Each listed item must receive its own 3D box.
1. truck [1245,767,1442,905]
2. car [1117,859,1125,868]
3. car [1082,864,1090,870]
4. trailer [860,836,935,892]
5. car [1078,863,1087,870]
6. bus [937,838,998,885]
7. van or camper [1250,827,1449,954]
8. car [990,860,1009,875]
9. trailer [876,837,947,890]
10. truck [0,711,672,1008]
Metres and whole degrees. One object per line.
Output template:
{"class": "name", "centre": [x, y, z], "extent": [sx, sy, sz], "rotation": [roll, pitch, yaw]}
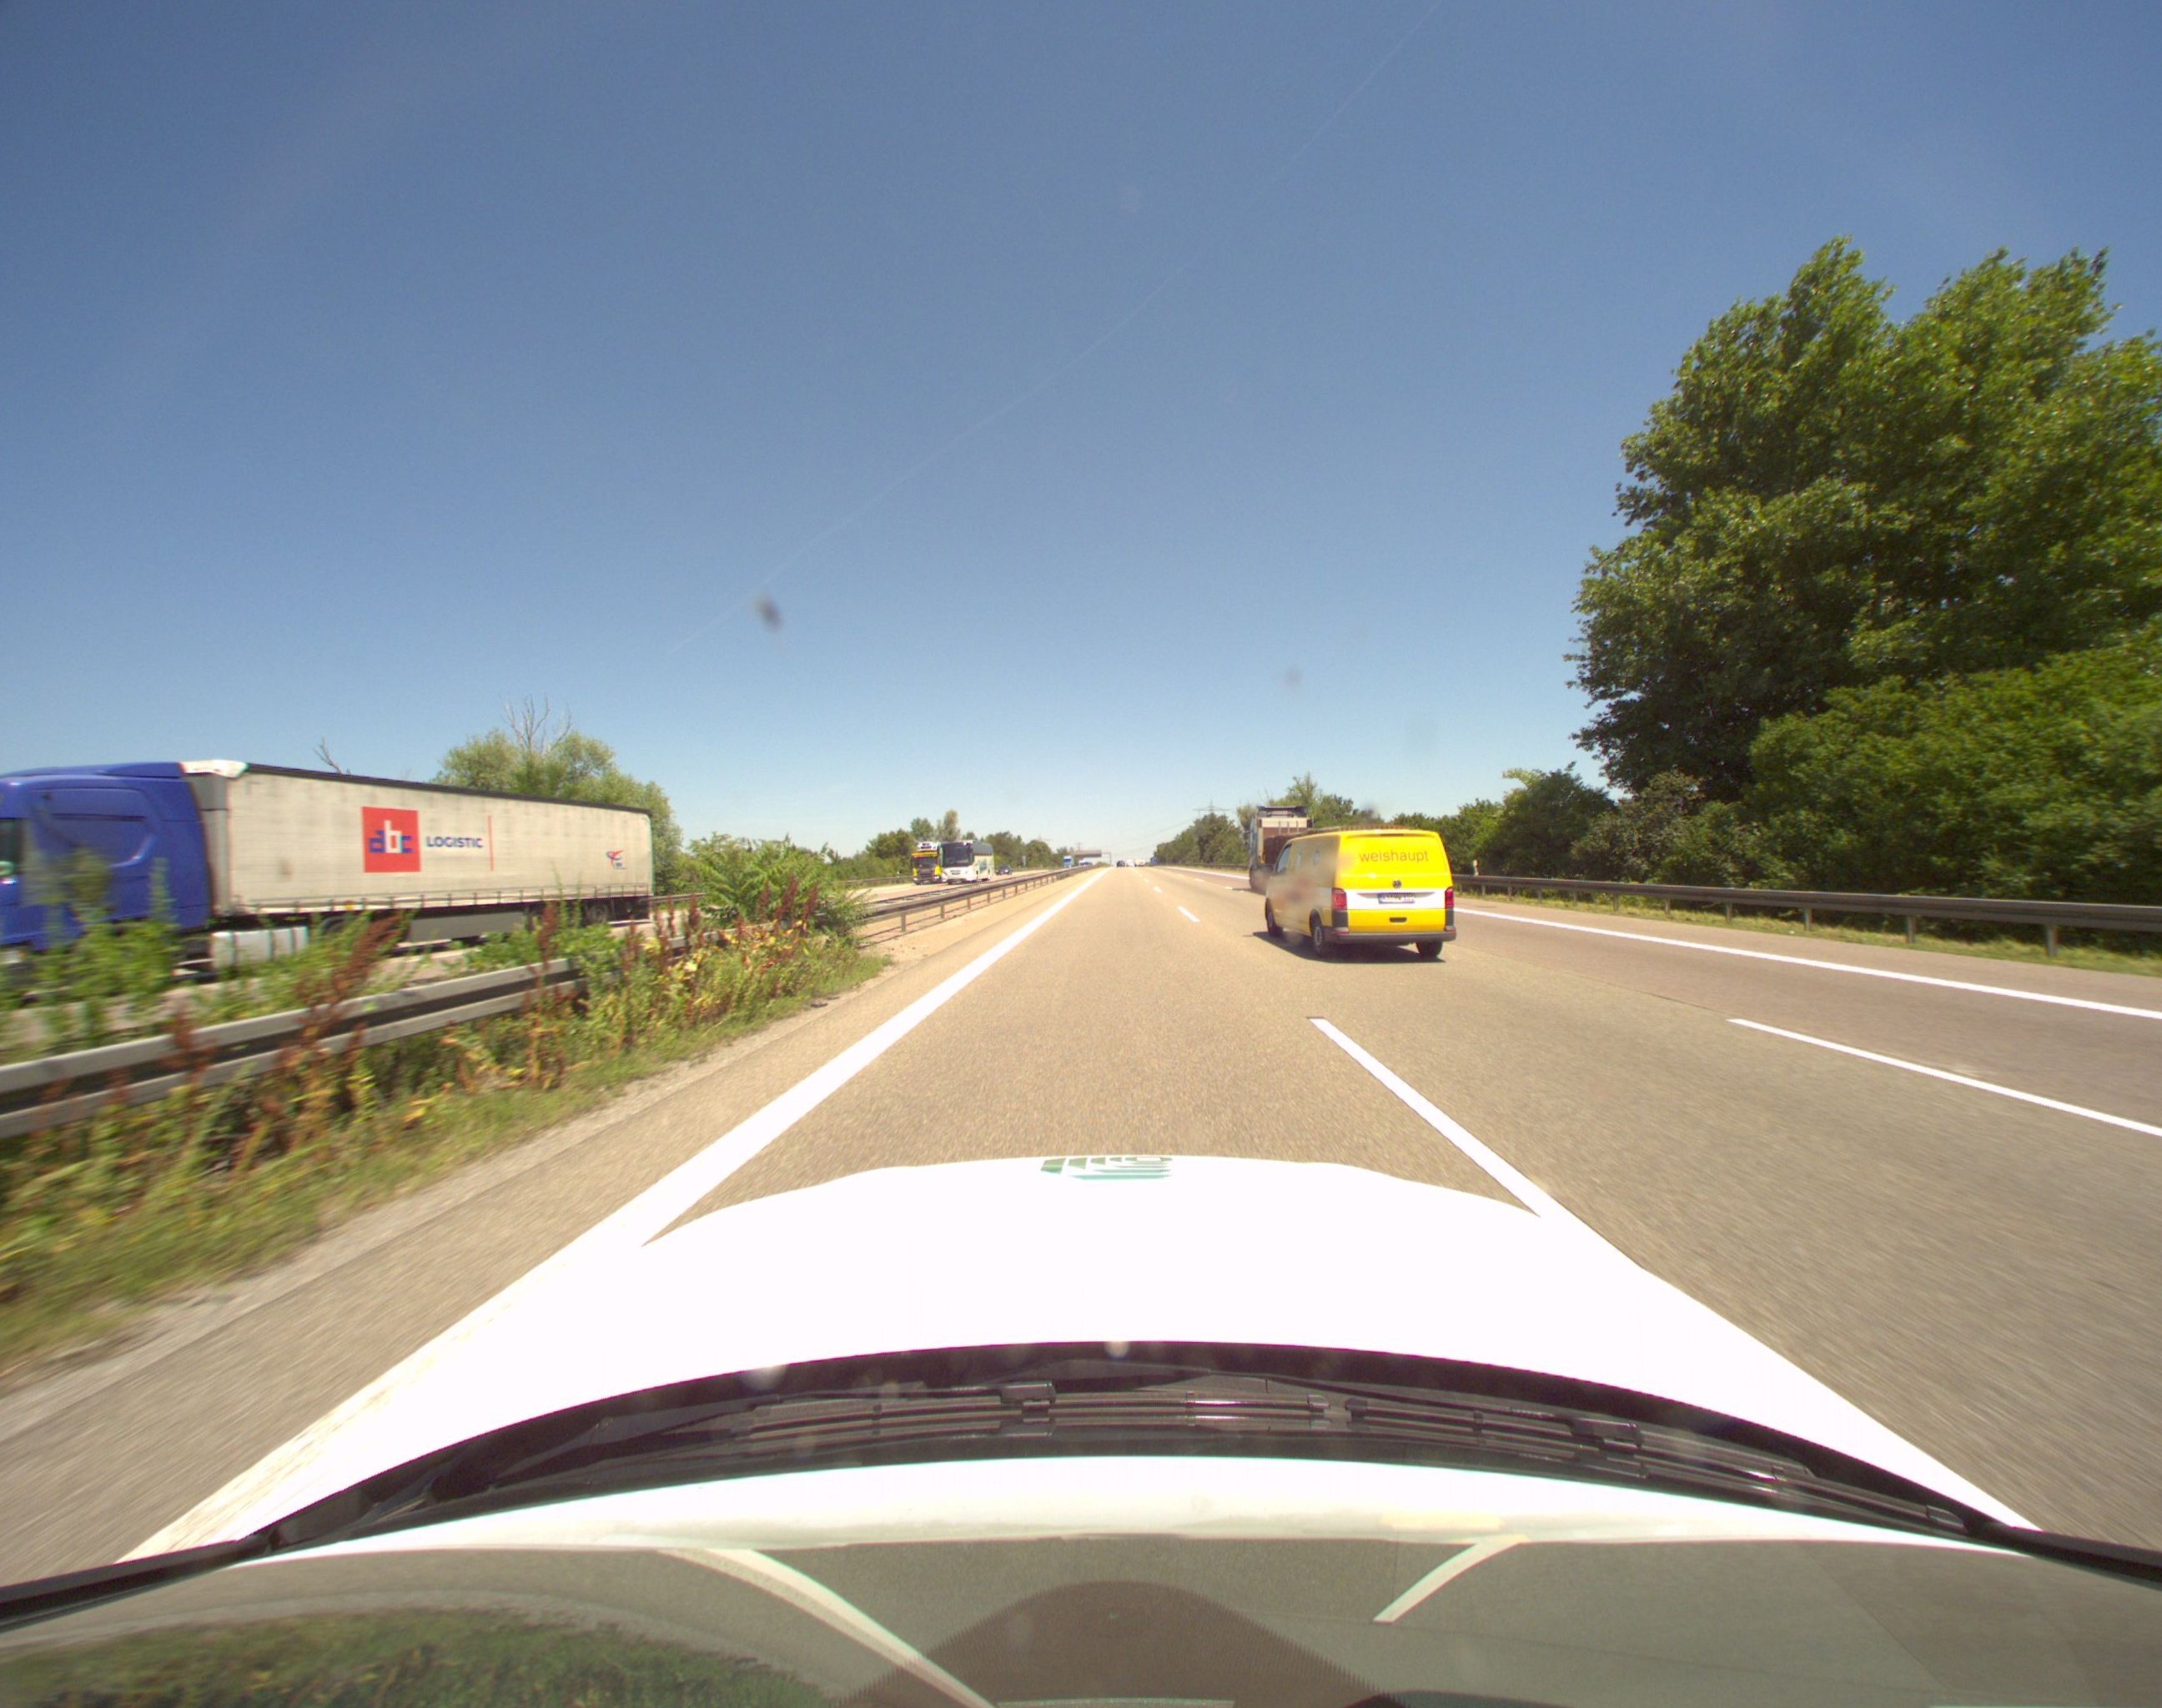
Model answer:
{"class": "truck", "centre": [9.222, -0.375, 31.776], "extent": [2.958, 3.957, 16.620], "rotation": [0, -1, 2]}
{"class": "car", "centre": [8.781, 2.107, 178.209], "extent": [1.784, 2.014, 3.890], "rotation": [0, -1, 3]}
{"class": "car", "centre": [1.526, 3.610, 231.771], "extent": [1.985, 1.690, 4.411], "rotation": [-2, -1, 3]}
{"class": "trailer", "centre": [-14.476, 0.797, 65.274], "extent": [2.910, 3.968, 10.542], "rotation": [-3, -1, 2]}
{"class": "car", "centre": [0.365, 3.178, 210.634], "extent": [1.986, 1.604, 4.602], "rotation": [-8, -1, 3]}
{"class": "bus", "centre": [-9.677, 0.605, 71.040], "extent": [2.683, 3.583, 12.801], "rotation": [-4, 0, 3]}
{"class": "van or camper", "centre": [4.566, 0.567, 14.778], "extent": [1.987, 1.909, 4.971], "rotation": [0, 0, 0]}
{"class": "car", "centre": [-11.916, 1.963, 119.601], "extent": [1.986, 1.872, 4.582], "rotation": [-5, -1, 1]}
{"class": "trailer", "centre": [-14.278, 0.794, 69.715], "extent": [2.910, 3.968, 11.658], "rotation": [-3, -1, 2]}
{"class": "truck", "centre": [-16.700, 0.213, 20.731], "extent": [2.943, 4.342, 17.479], "rotation": [-3, -1, 2]}
